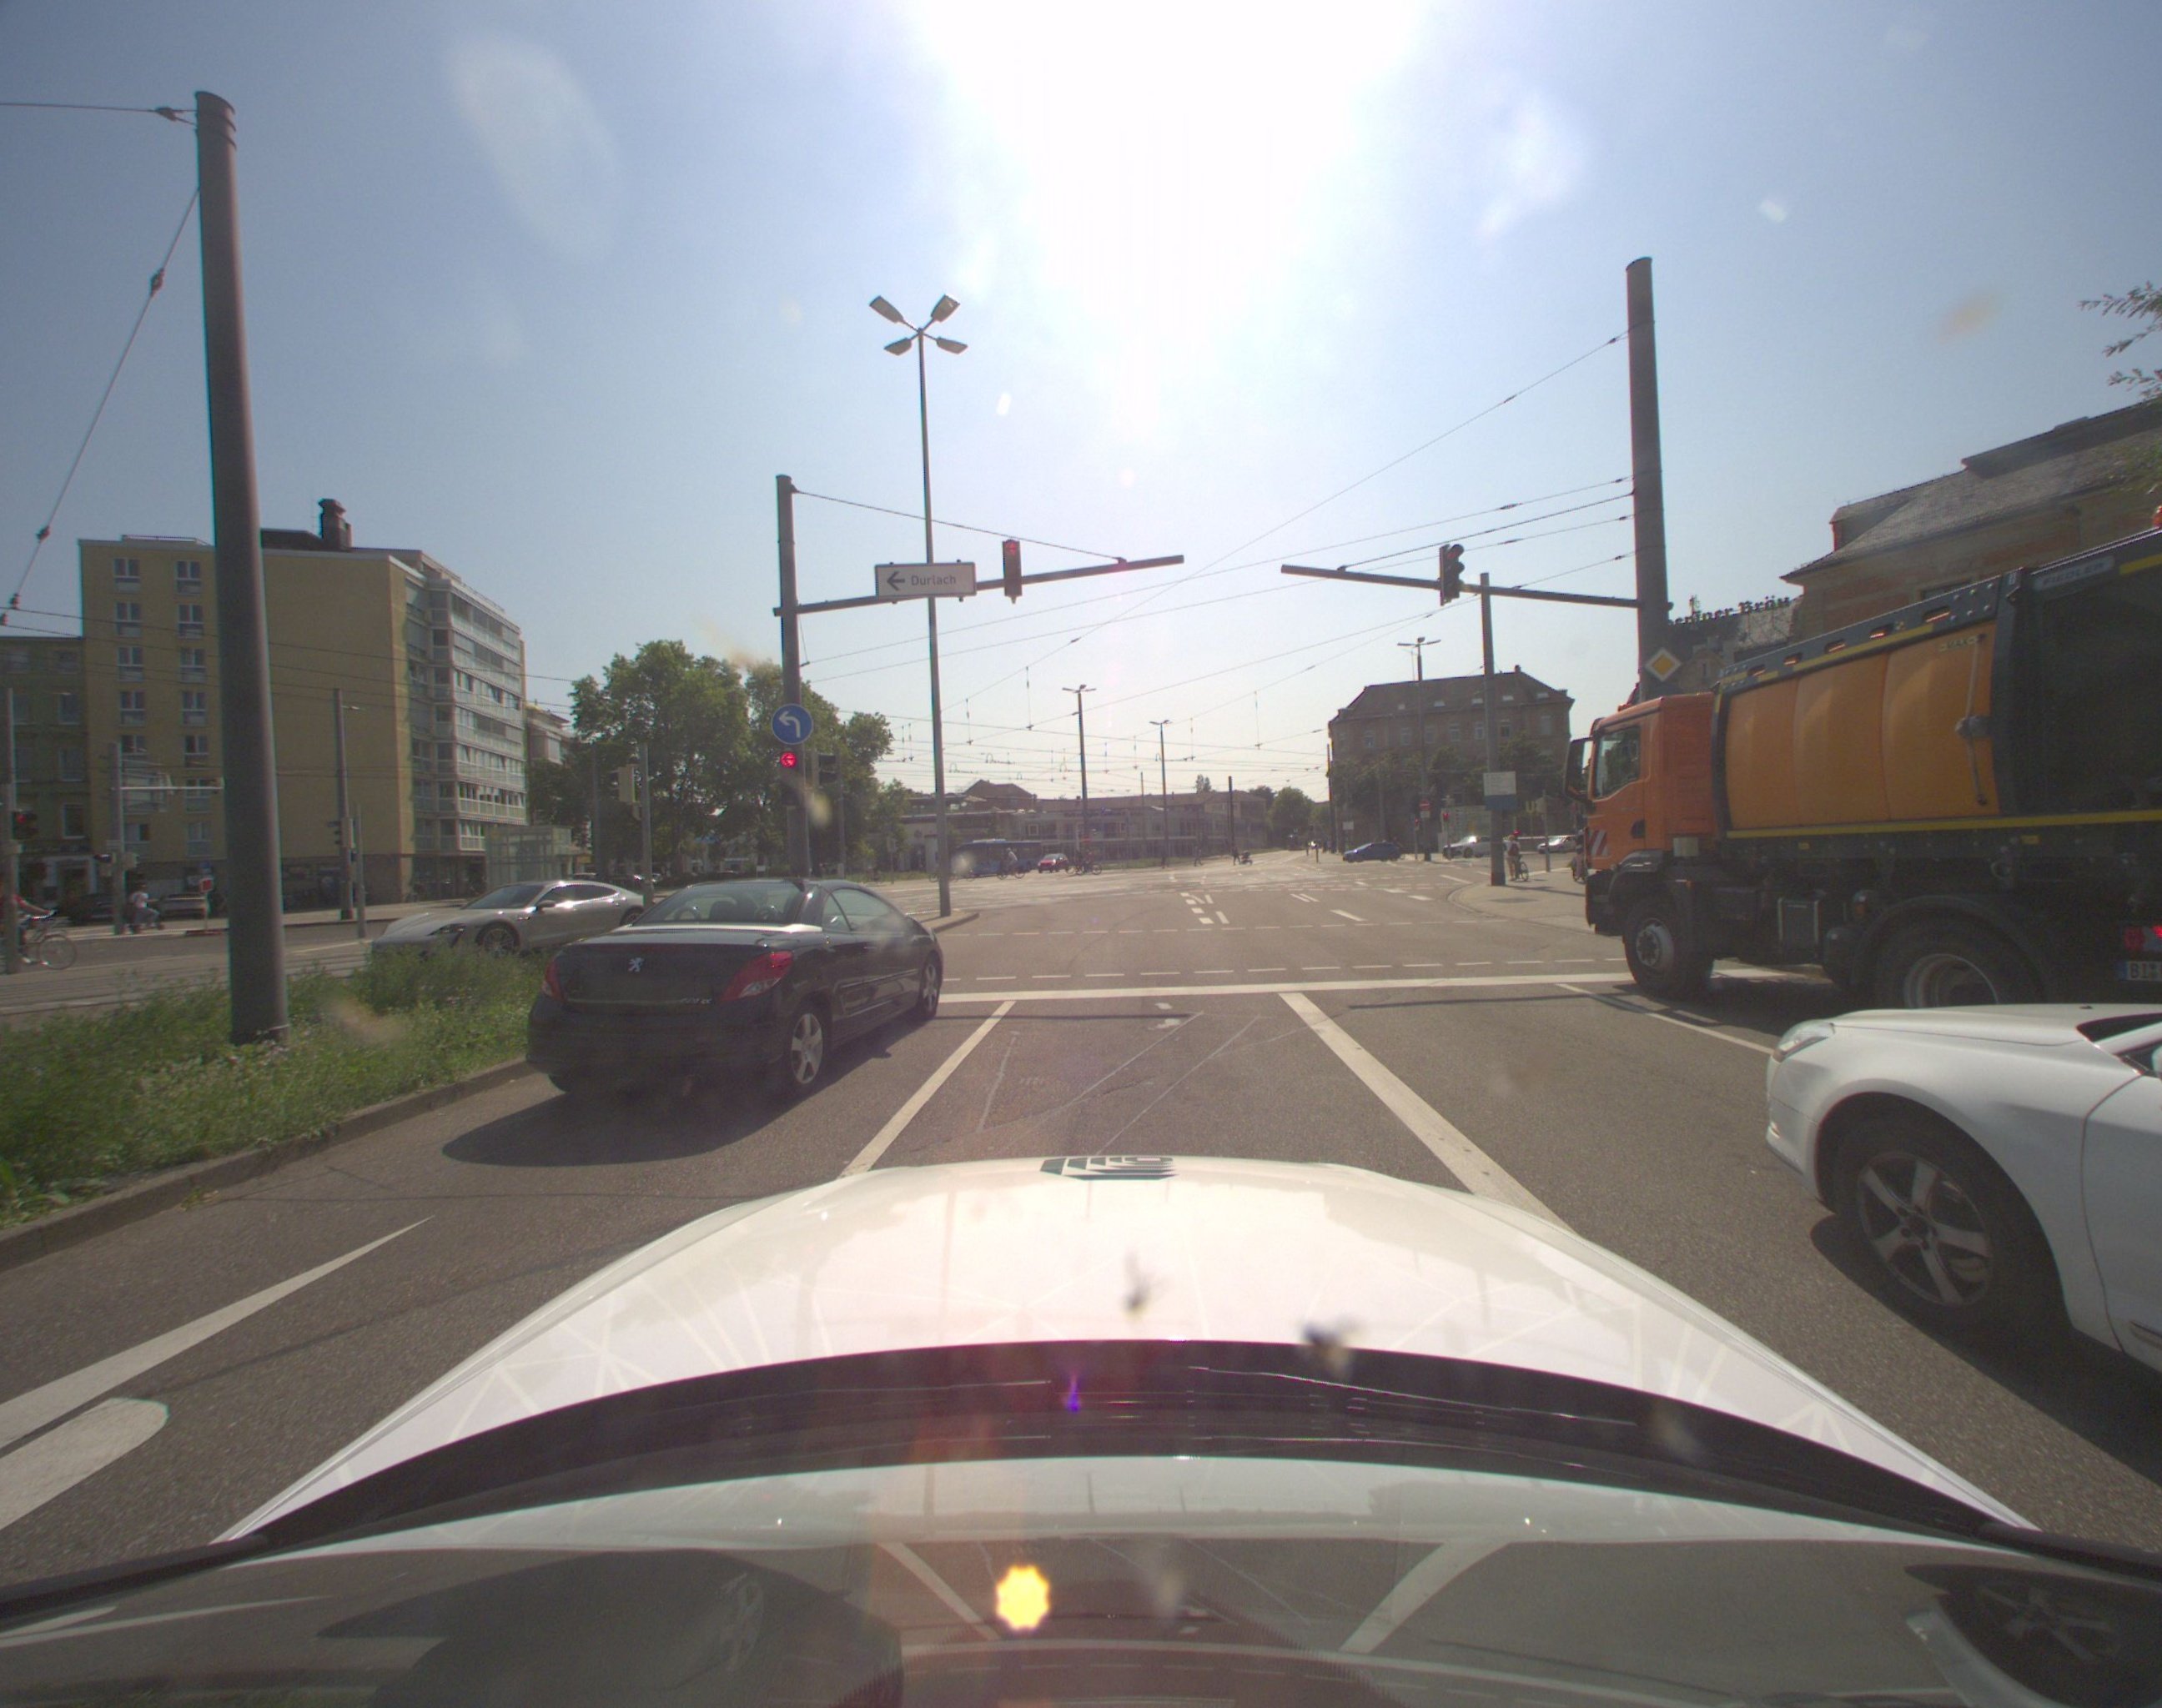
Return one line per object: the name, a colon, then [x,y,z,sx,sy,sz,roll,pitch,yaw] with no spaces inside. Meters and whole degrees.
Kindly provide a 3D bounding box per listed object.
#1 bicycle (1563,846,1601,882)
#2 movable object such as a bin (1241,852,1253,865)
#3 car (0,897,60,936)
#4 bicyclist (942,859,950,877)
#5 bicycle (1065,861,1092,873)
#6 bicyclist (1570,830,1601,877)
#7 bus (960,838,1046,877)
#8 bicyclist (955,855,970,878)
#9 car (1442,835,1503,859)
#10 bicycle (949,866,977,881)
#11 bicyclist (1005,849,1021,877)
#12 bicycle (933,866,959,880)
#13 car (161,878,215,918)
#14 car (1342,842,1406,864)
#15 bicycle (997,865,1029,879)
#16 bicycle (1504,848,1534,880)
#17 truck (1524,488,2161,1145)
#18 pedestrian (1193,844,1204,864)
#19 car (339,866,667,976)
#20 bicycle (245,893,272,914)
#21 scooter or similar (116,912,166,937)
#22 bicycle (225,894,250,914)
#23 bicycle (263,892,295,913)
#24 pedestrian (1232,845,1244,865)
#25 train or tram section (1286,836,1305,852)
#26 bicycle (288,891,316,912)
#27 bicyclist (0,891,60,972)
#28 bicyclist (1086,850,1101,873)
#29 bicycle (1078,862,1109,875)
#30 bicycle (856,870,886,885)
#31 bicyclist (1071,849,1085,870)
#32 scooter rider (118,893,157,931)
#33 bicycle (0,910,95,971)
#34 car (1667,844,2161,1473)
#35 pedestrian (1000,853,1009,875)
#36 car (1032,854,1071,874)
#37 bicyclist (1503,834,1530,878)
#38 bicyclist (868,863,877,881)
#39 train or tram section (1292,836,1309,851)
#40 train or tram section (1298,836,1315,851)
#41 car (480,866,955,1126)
bicycle: [15.553,0.285,25.292,0.532,1.055,1.660,-2,0,15]
movable object such as a bin: [13.770,0.375,67.600,0.812,1.077,0.510,-2,0,-8]
car: [-53.935,3.151,41.649,3.949,1.819,1.815,-3,0,43]
bicyclist: [-9.958,1.010,59.978,0.544,1.293,0.557,-2,0,-8]
bicycle: [-0.198,0.947,58.592,1.860,0.802,0.605,-2,0,-16]
bicyclist: [15.430,-0.010,24.926,0.526,1.393,0.897,-2,0,15]
bus: [-6.644,0.225,72.252,2.540,3.082,12.084,-3,0,20]
bicyclist: [-7.875,0.841,54.115,0.910,1.508,0.557,-2,0,-9]
car: [29.261,-0.522,60.867,4.343,1.618,1.740,-2,0,-25]
bicycle: [-7.861,1.293,54.117,1.813,0.942,0.566,-2,0,-9]
bicyclist: [-4.492,0.601,53.522,0.923,1.807,0.496,-2,0,-10]
bicycle: [-9.960,1.433,60.027,1.814,0.942,0.414,-2,0,-10]
car: [-47.087,2.321,43.002,3.949,1.925,1.815,-3,0,43]
car: [21.151,-0.095,58.841,3.981,1.394,1.593,-2,0,-5]
bicycle: [-4.485,1.161,53.514,2.048,0.802,0.478,-2,0,-10]
bicycle: [15.279,0.340,28.434,0.532,1.055,1.660,-2,0,15]
truck: [6.667,-0.218,6.910,2.480,3.134,6.871,-2,0,5]
pedestrian: [9.681,-0.029,66.932,0.698,1.603,0.572,-2,0,-5]
car: [-10.411,1.111,15.238,1.978,1.585,4.736,-2,0,16]
bicycle: [-50.565,3.032,50.063,3.220,1.204,0.699,-3,0,37]
scooter or similar: [-34.954,2.614,30.309,0.519,0.824,1.143,-2,0,-2]
bicycle: [-51.670,3.055,49.900,2.754,1.204,0.699,-3,0,37]
bicycle: [-49.565,3.015,50.308,3.220,1.204,0.916,-3,0,37]
pedestrian: [13.004,0.082,67.545,0.848,1.545,0.528,-2,0,-5]
train or tram section: [48.554,-2.283,184.273,2.566,3.516,10.957,-2,0,22]
bicycle: [-48.483,2.960,50.663,3.220,1.204,0.699,-3,0,37]
bicyclist: [-20.876,1.518,16.093,0.556,1.509,0.638,-2,0,-3]
bicyclist: [0.849,0.496,55.043,0.871,1.483,0.496,-2,0,-10]
bicycle: [0.859,0.955,55.024,2.048,0.802,0.478,-2,0,-10]
bicycle: [-15.227,1.711,59.003,2.032,0.942,0.466,-2,0,-10]
bicyclist: [-0.207,0.421,58.603,0.872,1.475,0.543,-2,0,-15]
scooter rider: [-35.102,2.143,30.313,0.685,1.353,0.608,-2,0,-3]
bicycle: [-20.734,1.714,16.018,1.927,1.093,0.503,-2,0,-4]
car: [3.361,0.716,1.302,1.761,1.428,4.615,-2,0,4]
pedestrian: [-5.840,0.755,61.911,0.554,1.684,0.452,-2,0,-16]
car: [-2.438,0.837,68.845,1.734,1.552,4.021,-3,0,21]
bicyclist: [15.369,0.080,28.743,0.623,1.517,0.715,-2,0,15]
bicyclist: [-15.116,1.295,58.961,0.544,1.293,0.557,-2,0,-8]
train or tram section: [52.419,-2.493,193.939,2.565,3.516,9.711,-2,0,22]
train or tram section: [56.669,-2.745,204.420,2.566,3.516,13.042,-2,0,22]
car: [-2.405,0.835,6.553,1.756,1.388,3.788,-1,0,7]
